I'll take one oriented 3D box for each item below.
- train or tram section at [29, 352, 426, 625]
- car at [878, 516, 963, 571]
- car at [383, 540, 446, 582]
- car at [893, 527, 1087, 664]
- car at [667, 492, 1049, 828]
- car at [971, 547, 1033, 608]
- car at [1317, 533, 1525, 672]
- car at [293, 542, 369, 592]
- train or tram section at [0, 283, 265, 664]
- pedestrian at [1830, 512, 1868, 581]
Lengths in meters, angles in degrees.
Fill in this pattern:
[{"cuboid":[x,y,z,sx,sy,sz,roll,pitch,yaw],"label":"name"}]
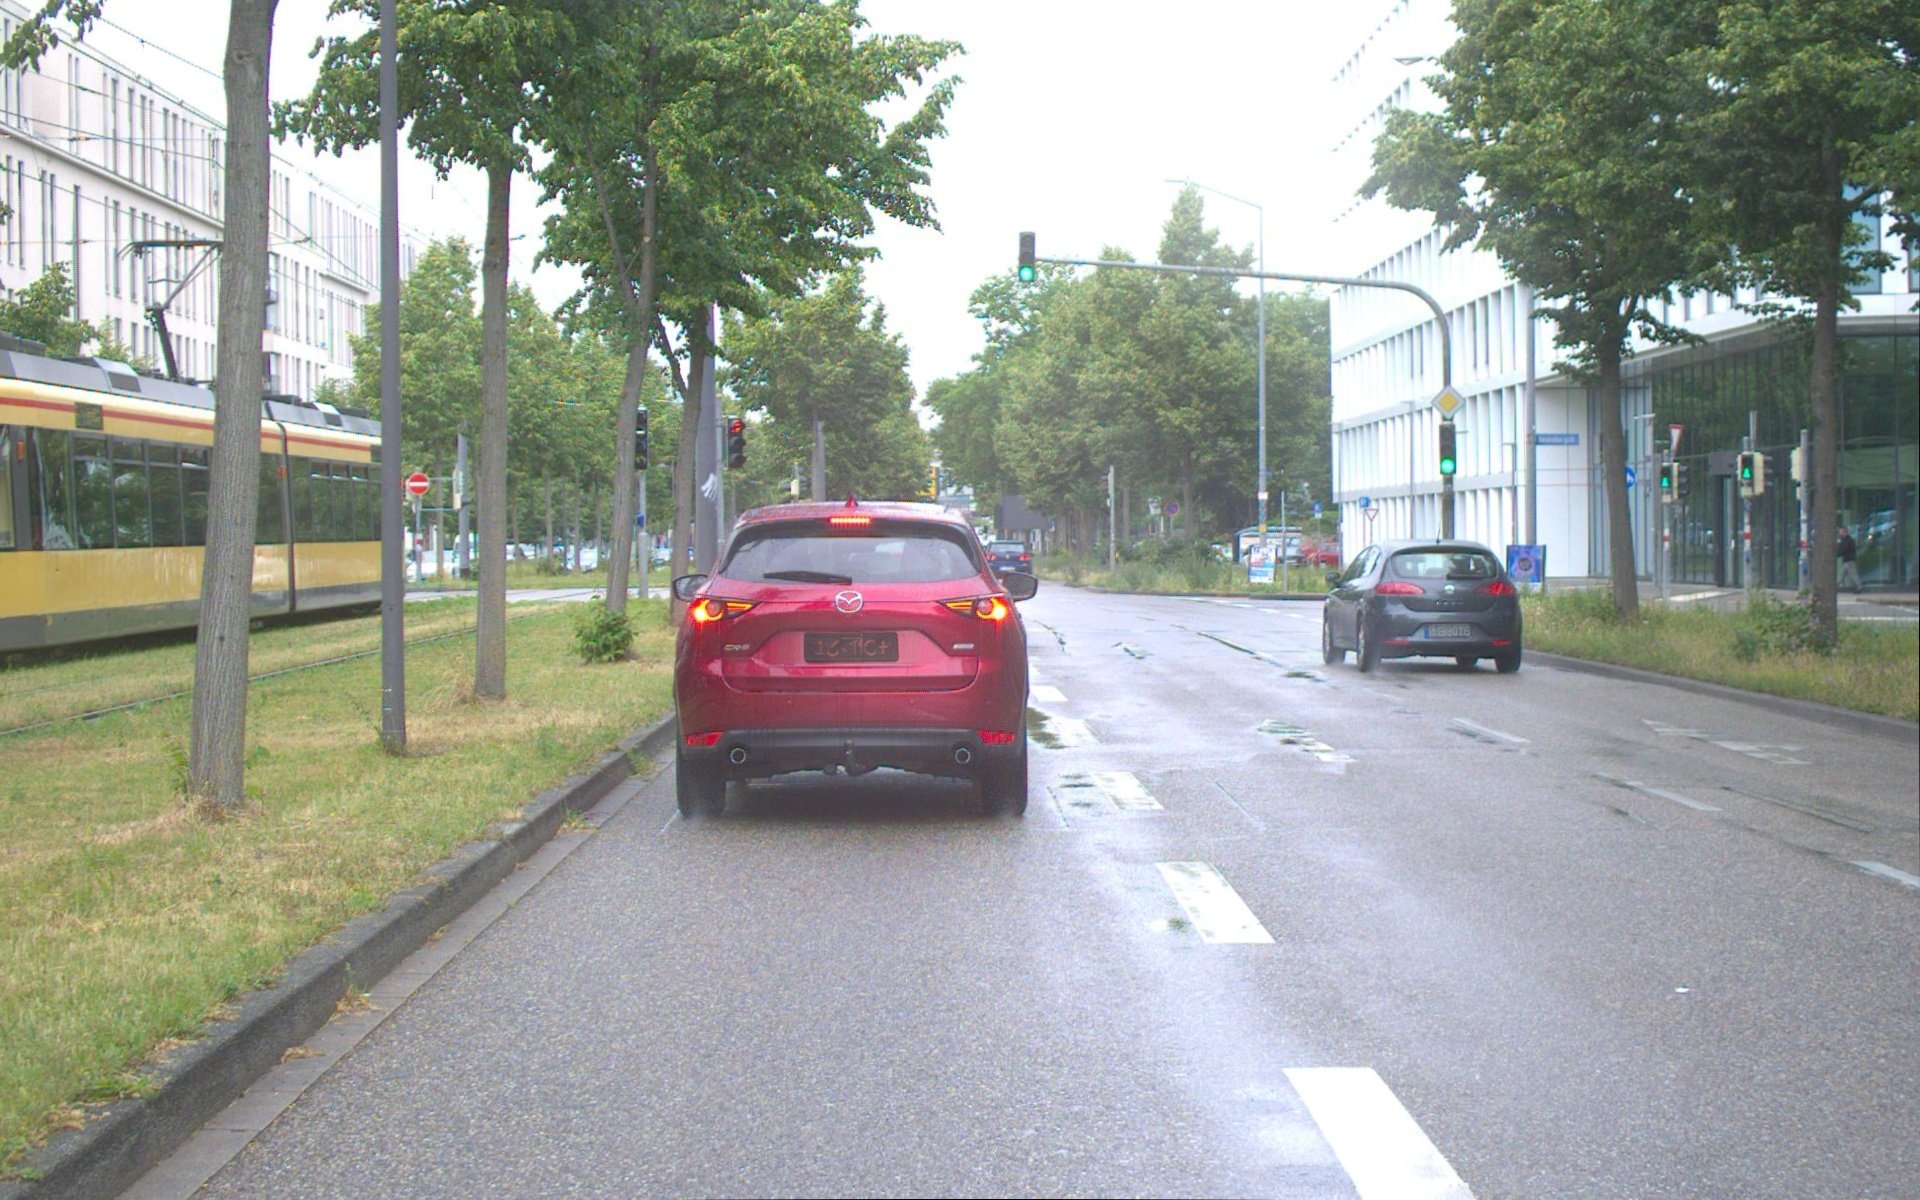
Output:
[{"cuboid":[-10.975,-1.674,53.587,3.129,3.646,15.065,0,1,-1],"label":"train or tram section"},{"cuboid":[-1.092,-1.543,93.027,1.967,1.432,4.553,1,1,-5],"label":"car"},{"cuboid":[-21.669,-1.559,136.755,1.993,1.612,4.001,0,1,-2],"label":"car"},{"cuboid":[0.390,-0.090,38.757,1.960,1.460,3.781,0,1,4],"label":"car"},{"cuboid":[-0.547,0.253,19.099,1.898,1.671,4.000,0,1,-1],"label":"car"},{"cuboid":[1.417,-0.789,117.646,1.993,2.007,4.000,0,1,-1],"label":"car"},{"cuboid":[5.064,-0.009,38.192,1.743,1.460,3.782,0,1,-1],"label":"car"},{"cuboid":[-21.371,-1.131,116.907,1.993,1.612,4.001,0,1,-2],"label":"car"},{"cuboid":[-10.808,-1.364,39.312,3.129,3.646,13.407,0,1,-1],"label":"train or tram section"},{"cuboid":[21.954,-1.323,84.916,0.782,1.701,0.679,1,1,25],"label":"pedestrian"}]
